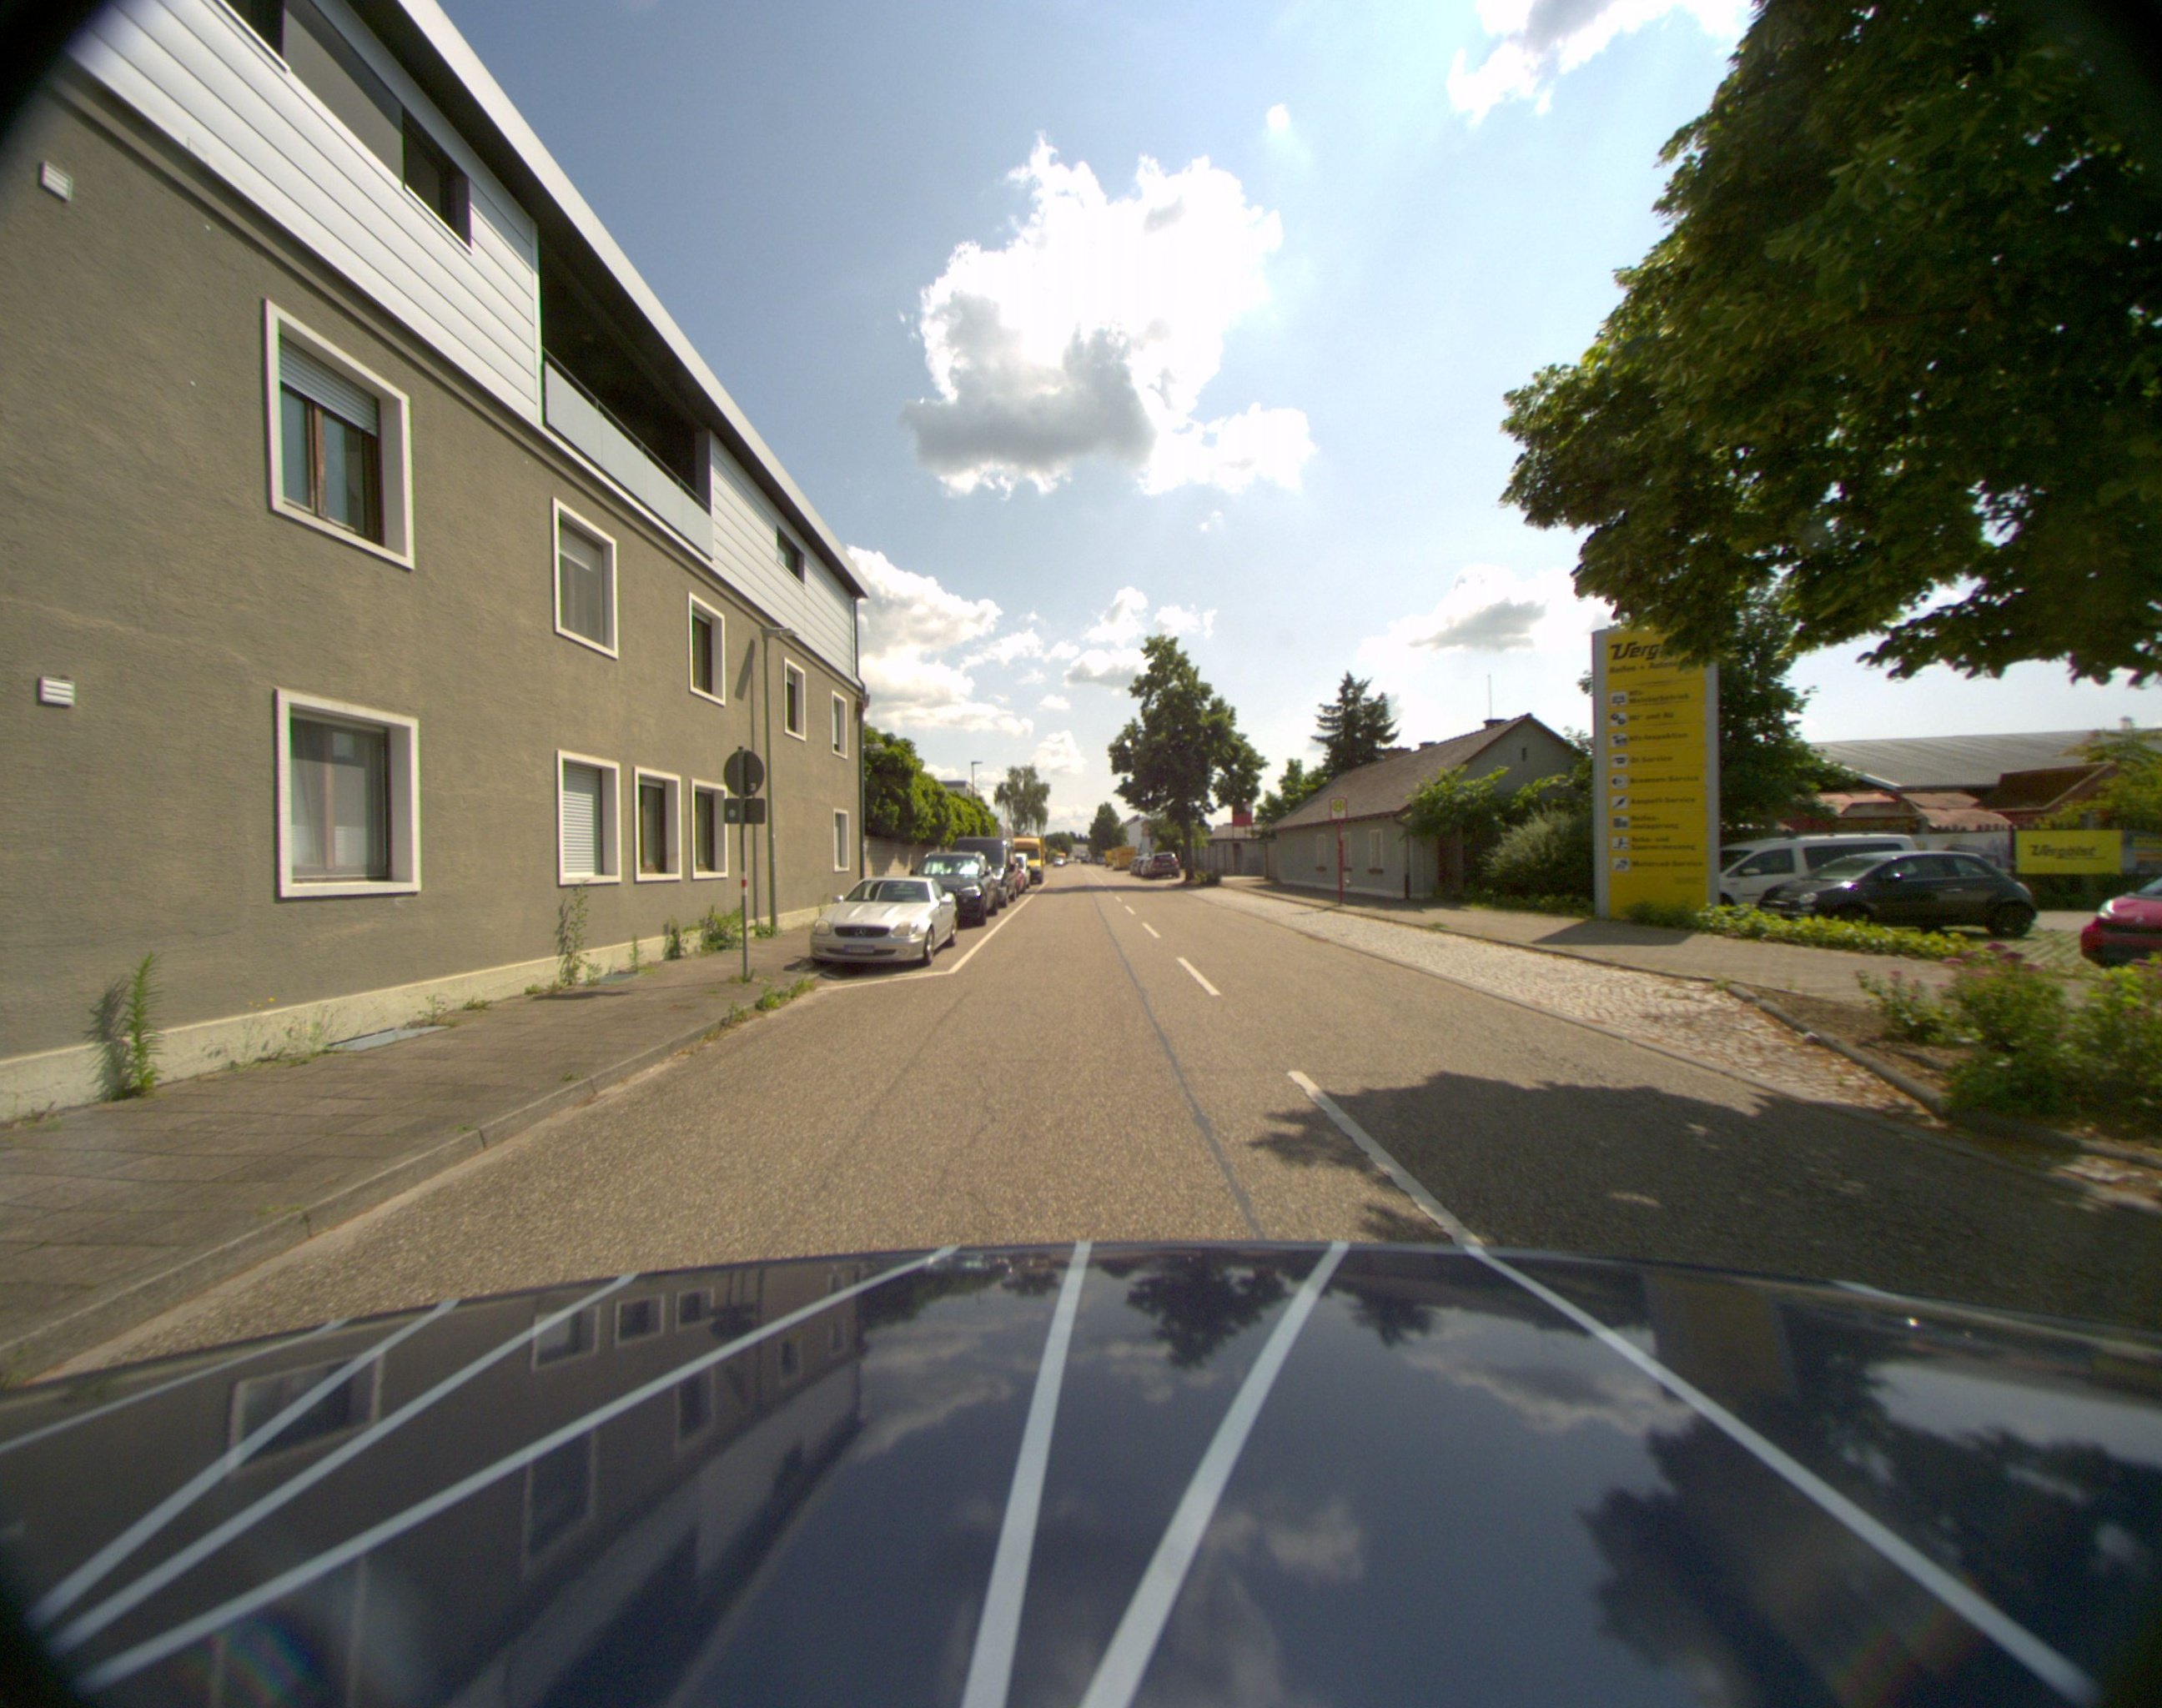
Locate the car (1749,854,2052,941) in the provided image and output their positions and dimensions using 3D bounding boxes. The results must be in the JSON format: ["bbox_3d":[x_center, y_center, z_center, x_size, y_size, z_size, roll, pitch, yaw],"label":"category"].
[{"bbox_3d":[14.278,0.758,13.412,3.550,1.375,1.237,-2,1,13],"label":"car"}]

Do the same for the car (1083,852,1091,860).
[{"bbox_3d":[1.452,0.530,185.014,1.998,2.002,4.000,-1,0,1],"label":"car"}]

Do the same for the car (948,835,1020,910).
[{"bbox_3d":[-3.156,0.574,25.450,1.999,2.289,4.413,0,0,-2],"label":"car"}]

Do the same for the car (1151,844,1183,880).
[{"bbox_3d":[5.924,0.531,52.032,1.997,2.289,4.003,-1,0,9],"label":"car"}]

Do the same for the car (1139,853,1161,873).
[{"bbox_3d":[5.429,0.678,59.663,1.599,1.485,2.952,-1,0,5],"label":"car"}]

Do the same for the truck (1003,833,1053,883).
[{"bbox_3d":[-3.113,0.208,45.962,2.402,2.787,6.375,-1,0,1],"label":"truck"}]

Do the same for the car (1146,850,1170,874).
[{"bbox_3d":[5.690,0.564,56.362,1.655,1.685,3.314,-1,0,6],"label":"car"}]

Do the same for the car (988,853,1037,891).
[{"bbox_3d":[-3.370,0.866,38.002,1.998,1.672,3.999,-2,1,1],"label":"car"}]

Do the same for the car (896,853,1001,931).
[{"bbox_3d":[-3.138,0.839,18.754,1.999,1.677,3.999,-1,0,-2],"label":"car"}]

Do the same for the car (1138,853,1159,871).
[{"bbox_3d":[5.592,0.620,62.974,1.655,1.432,3.314,-1,0,6],"label":"car"}]

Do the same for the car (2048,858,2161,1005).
[{"bbox_3d":[13.312,0.827,8.427,2.778,1.535,1.593,-2,1,18],"label":"car"}]

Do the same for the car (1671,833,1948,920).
[{"bbox_3d":[15.490,0.472,16.372,4.093,1.703,1.680,-1,0,8],"label":"car"}]

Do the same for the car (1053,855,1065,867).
[{"bbox_3d":[-3.962,1.258,138.339,1.998,2.002,4.000,-1,0,1],"label":"car"}]

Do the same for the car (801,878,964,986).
[{"bbox_3d":[-3.034,1.135,12.432,1.657,1.324,3.999,-1,0,-1],"label":"car"}]
